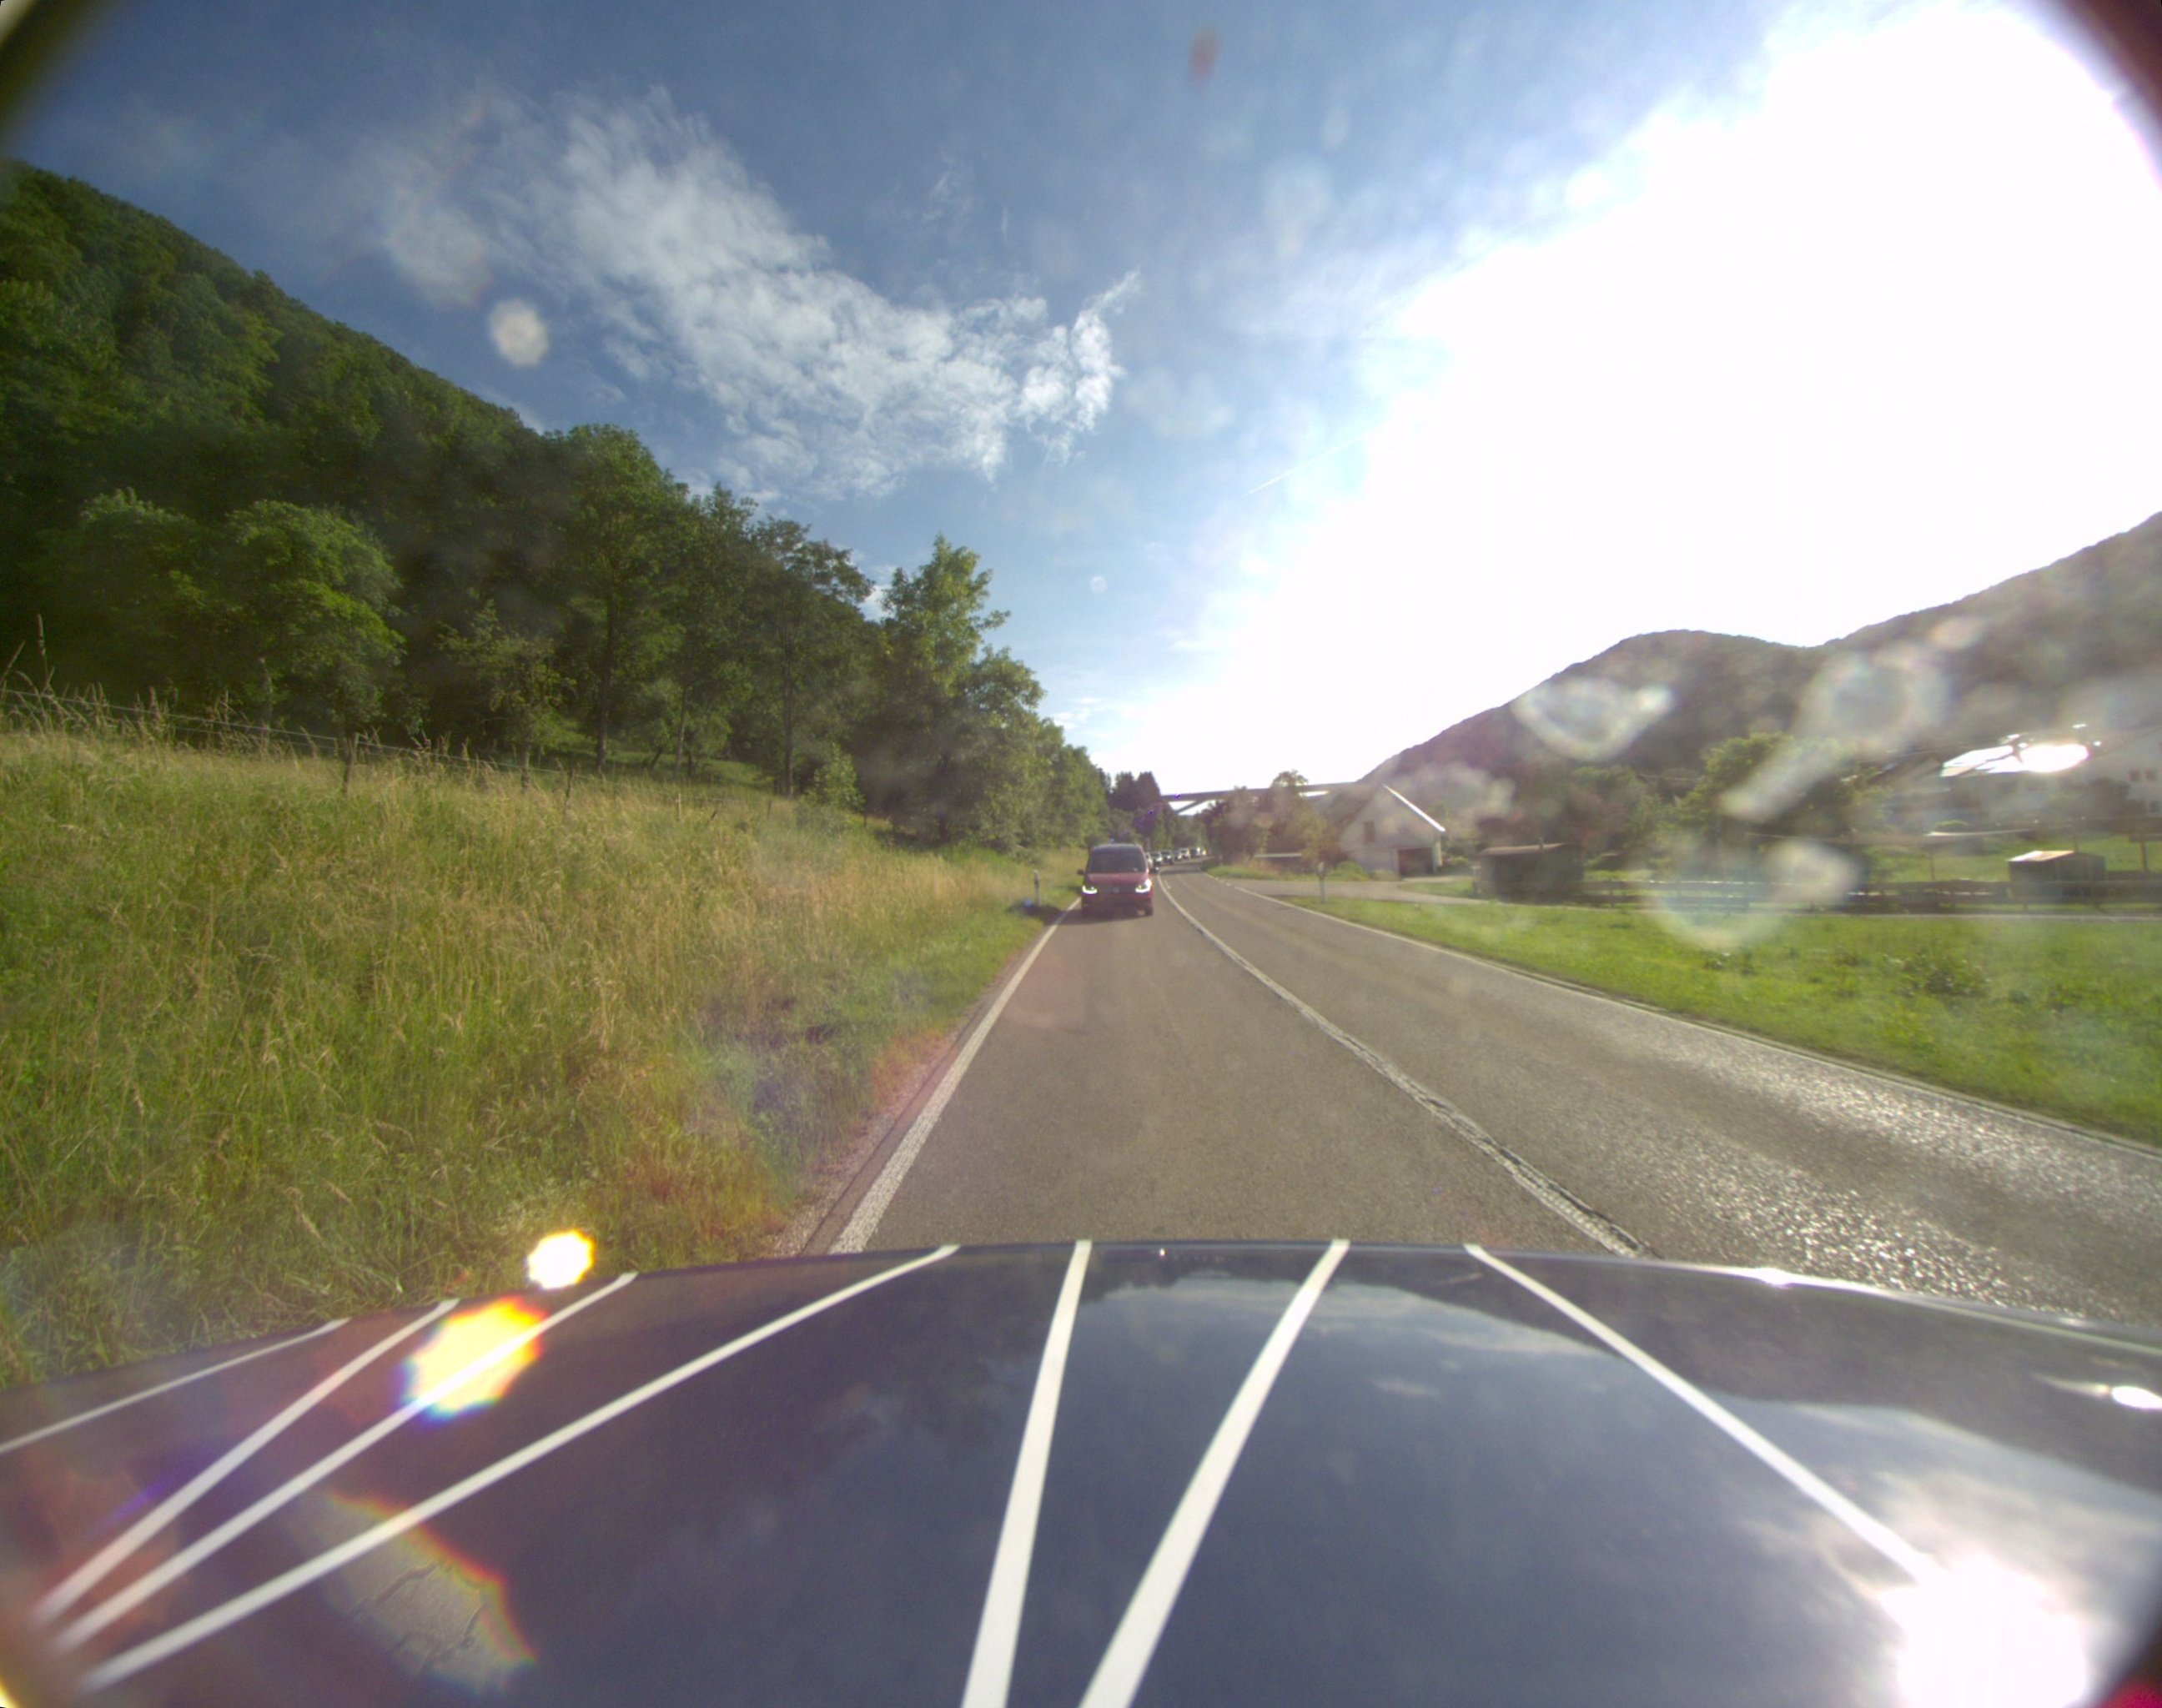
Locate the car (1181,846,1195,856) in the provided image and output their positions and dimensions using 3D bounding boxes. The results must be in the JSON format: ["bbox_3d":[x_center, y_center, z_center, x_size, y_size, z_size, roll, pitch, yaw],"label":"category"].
[{"bbox_3d":[16.246,-0.437,115.516,1.630,1.470,3.680,-2,1,3],"label":"car"}]

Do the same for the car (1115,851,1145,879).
[{"bbox_3d":[2.845,0.590,44.254,1.629,1.470,3.680,-2,1,4],"label":"car"}]

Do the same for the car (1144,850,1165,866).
[{"bbox_3d":[7.068,0.372,73.393,1.630,1.470,3.679,-2,1,0],"label":"car"}]

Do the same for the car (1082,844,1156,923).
[{"bbox_3d":[0.884,0.658,19.507,1.649,1.762,3.999,-2,1,0],"label":"car"}]

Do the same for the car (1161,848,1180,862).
[{"bbox_3d":[10.012,0.119,85.344,1.630,1.470,3.679,-2,1,0],"label":"car"}]

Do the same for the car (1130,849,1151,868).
[{"bbox_3d":[5.065,0.365,64.787,1.629,1.470,3.680,-2,1,4],"label":"car"}]

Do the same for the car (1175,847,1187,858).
[{"bbox_3d":[13.362,-0.215,101.594,1.629,1.470,3.681,-2,1,7],"label":"car"}]
